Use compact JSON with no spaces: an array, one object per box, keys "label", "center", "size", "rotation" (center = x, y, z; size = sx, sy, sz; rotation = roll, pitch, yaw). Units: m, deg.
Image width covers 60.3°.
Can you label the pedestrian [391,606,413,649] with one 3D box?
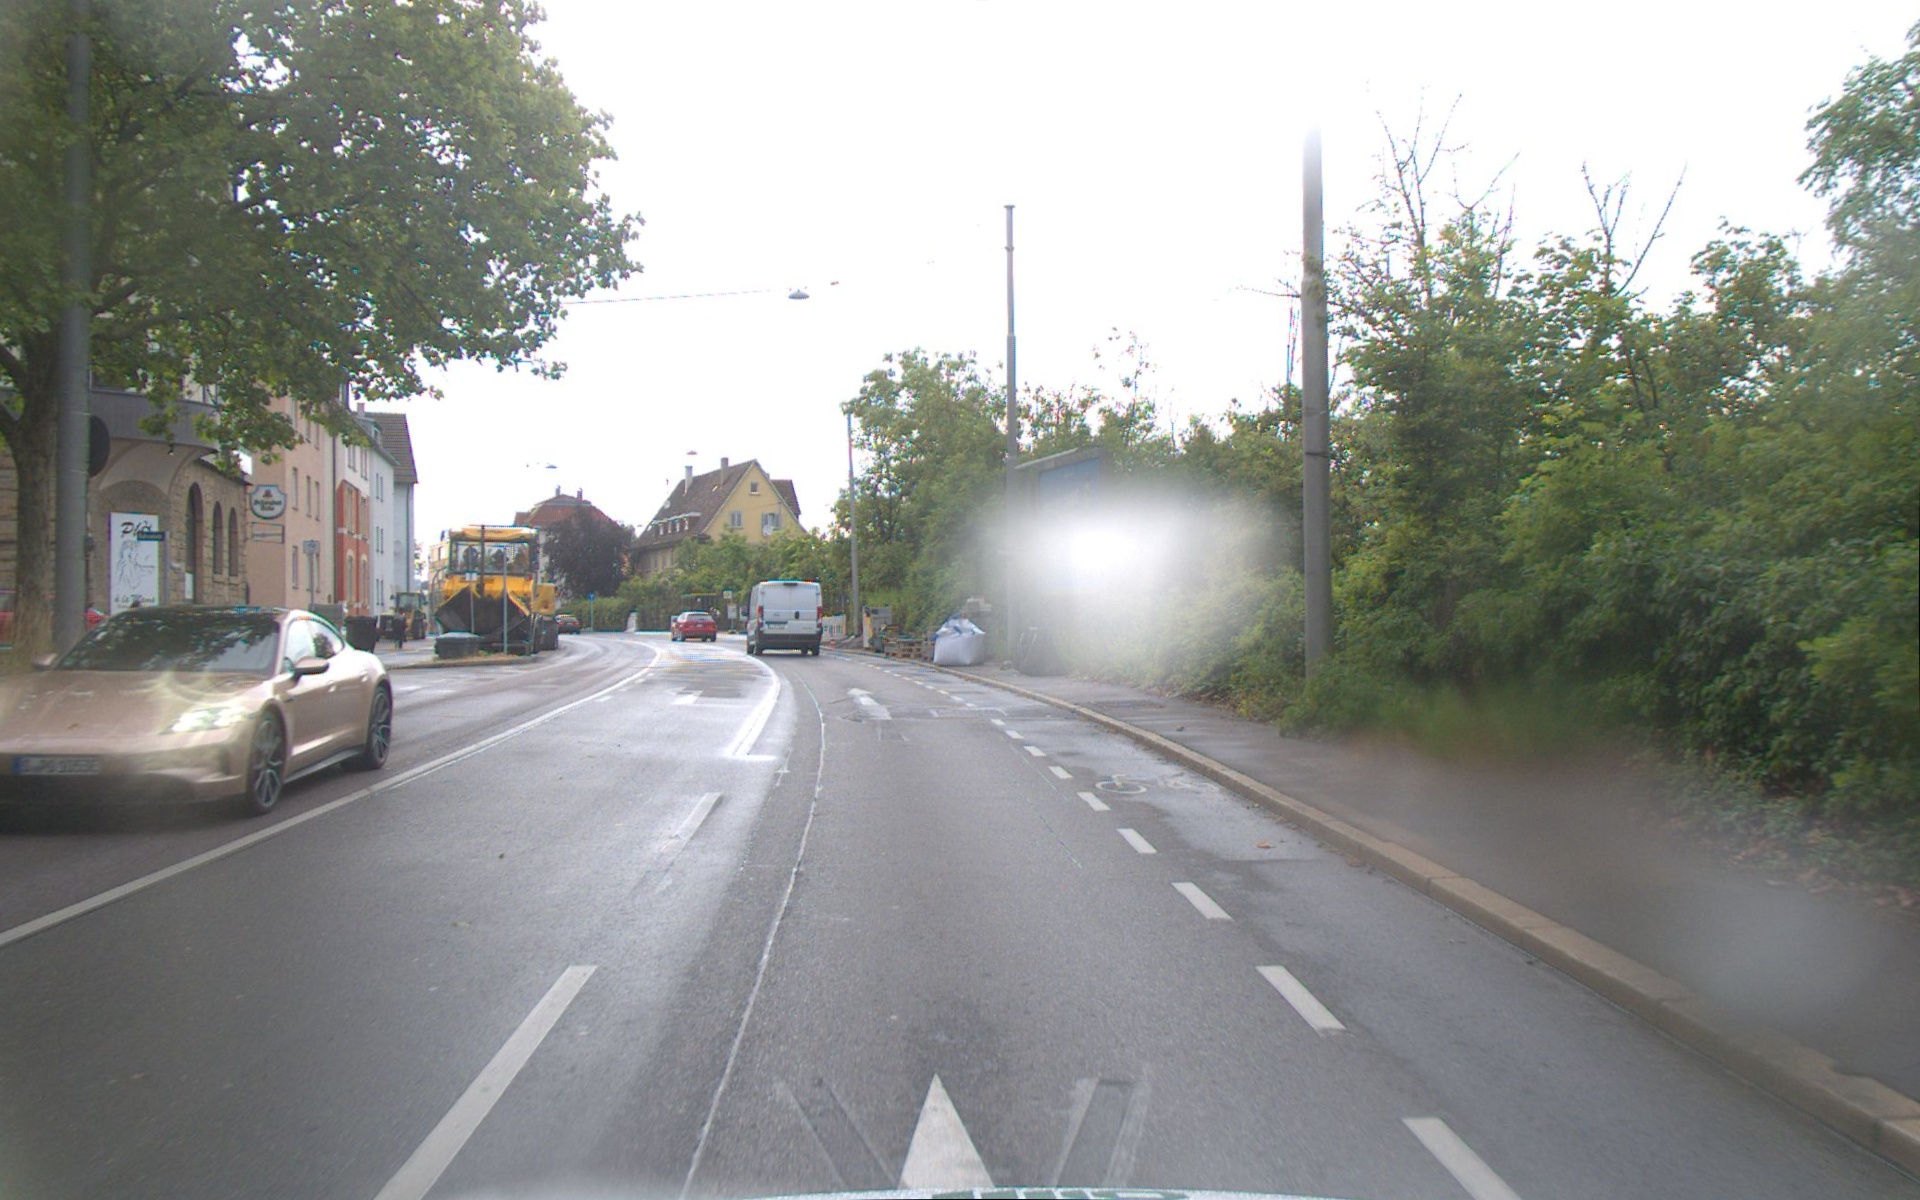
[{"label":"pedestrian","center":[-21.137,1.038,62.664],"size":[0.752,1.616,1.086],"rotation":[1,1,-17]}]

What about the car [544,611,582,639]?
[{"label":"car","center":[-29.172,1.830,121.344],"size":[2.204,1.836,4.686],"rotation":[1,1,-20]}]

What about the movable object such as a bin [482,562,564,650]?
[{"label":"movable object such as a bin","center":[-16.751,0.192,63.579],"size":[2.821,3.228,4.113],"rotation":[1,1,-12]}]

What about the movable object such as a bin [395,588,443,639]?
[{"label":"movable object such as a bin","center":[-30.349,0.722,92.883],"size":[1.958,2.730,4.615],"rotation":[1,1,-11]}]

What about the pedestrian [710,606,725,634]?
[{"label":"pedestrian","center":[-15.446,1.290,105.167],"size":[0.889,1.761,0.652],"rotation":[1,1,-11]}]

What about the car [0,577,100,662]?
[{"label":"car","center":[-20.221,0.320,33.852],"size":[4.475,1.601,1.921],"rotation":[3,0,-26]}]

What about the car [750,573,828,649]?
[{"label":"car","center":[-5.488,0.301,52.502],"size":[2.196,2.251,4.704],"rotation":[1,1,-9]}]

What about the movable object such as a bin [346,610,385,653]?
[{"label":"movable object such as a bin","center":[-17.834,0.946,49.630],"size":[0.882,1.243,1.191],"rotation":[0,1,-32]}]

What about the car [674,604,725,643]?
[{"label":"car","center":[-12.858,1.136,81.498],"size":[2.198,1.685,4.699],"rotation":[1,1,-13]}]

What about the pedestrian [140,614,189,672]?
[{"label":"pedestrian","center":[-16.195,0.864,33.669],"size":[0.729,1.143,0.729],"rotation":[1,1,-12]}]

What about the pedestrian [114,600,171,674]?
[{"label":"pedestrian","center":[-16.163,0.719,32.717],"size":[0.790,1.426,0.781],"rotation":[1,1,-10]}]

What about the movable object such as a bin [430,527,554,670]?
[{"label":"movable object such as a bin","center":[-13.646,-0.095,48.614],"size":[2.723,3.923,5.976],"rotation":[1,1,-9]}]

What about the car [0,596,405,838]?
[{"label":"car","center":[-5.714,0.718,12.471],"size":[2.032,1.376,4.705],"rotation":[1,1,-8]}]
